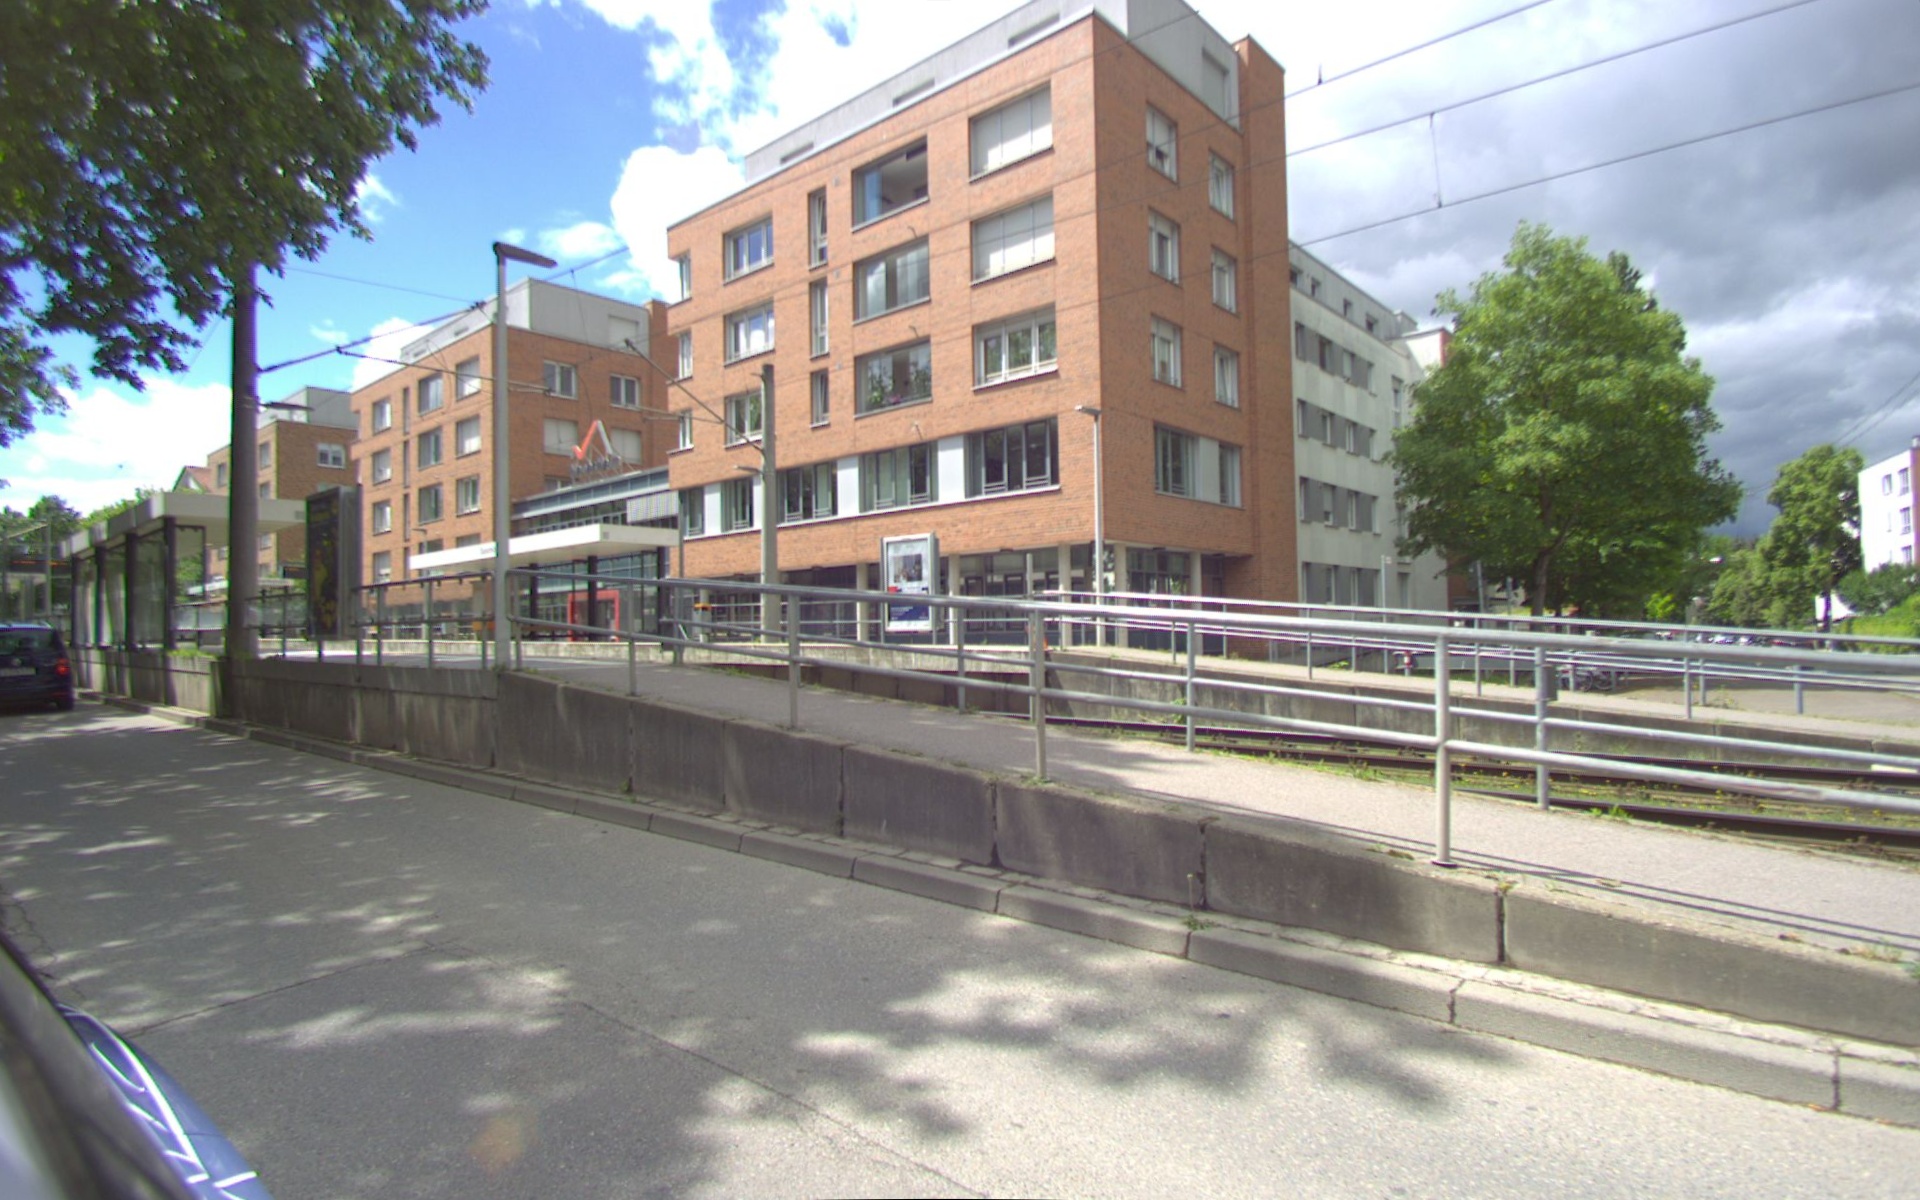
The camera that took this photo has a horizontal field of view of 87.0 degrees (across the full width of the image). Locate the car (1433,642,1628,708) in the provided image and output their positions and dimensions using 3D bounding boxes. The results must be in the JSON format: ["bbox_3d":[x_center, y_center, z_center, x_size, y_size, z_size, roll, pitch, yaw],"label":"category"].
[{"bbox_3d":[14.513,1.861,25.864,4.000,1.564,1.874,-3,-4,43],"label":"car"}]

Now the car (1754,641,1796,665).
[{"bbox_3d":[52.887,3.401,65.648,1.937,1.497,3.945,-3,-4,41],"label":"car"}]

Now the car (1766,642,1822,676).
[{"bbox_3d":[39.912,2.800,48.424,1.937,1.497,3.945,-3,-4,41],"label":"car"}]

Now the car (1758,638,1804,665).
[{"bbox_3d":[47.171,2.967,58.121,1.937,1.497,3.945,-3,-4,41],"label":"car"}]

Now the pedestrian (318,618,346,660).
[{"bbox_3d":[-25.316,1.576,40.793,0.815,1.641,0.743,-3,-2,41],"label":"pedestrian"}]

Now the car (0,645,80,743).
[{"bbox_3d":[-18.089,1.711,19.048,4.116,1.645,1.735,-2,-1,41],"label":"car"}]

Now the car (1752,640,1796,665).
[{"bbox_3d":[49.894,3.201,61.983,1.937,1.497,3.945,-3,-4,41],"label":"car"}]

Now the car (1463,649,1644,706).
[{"bbox_3d":[16.388,2.095,28.069,4.002,1.437,1.822,-3,-4,45],"label":"car"}]

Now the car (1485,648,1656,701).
[{"bbox_3d":[17.969,2.157,29.911,4.002,1.437,1.822,-3,-4,45],"label":"car"}]

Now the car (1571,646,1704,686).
[{"bbox_3d":[26.290,2.537,39.337,4.002,1.437,1.822,-3,-4,45],"label":"car"}]
